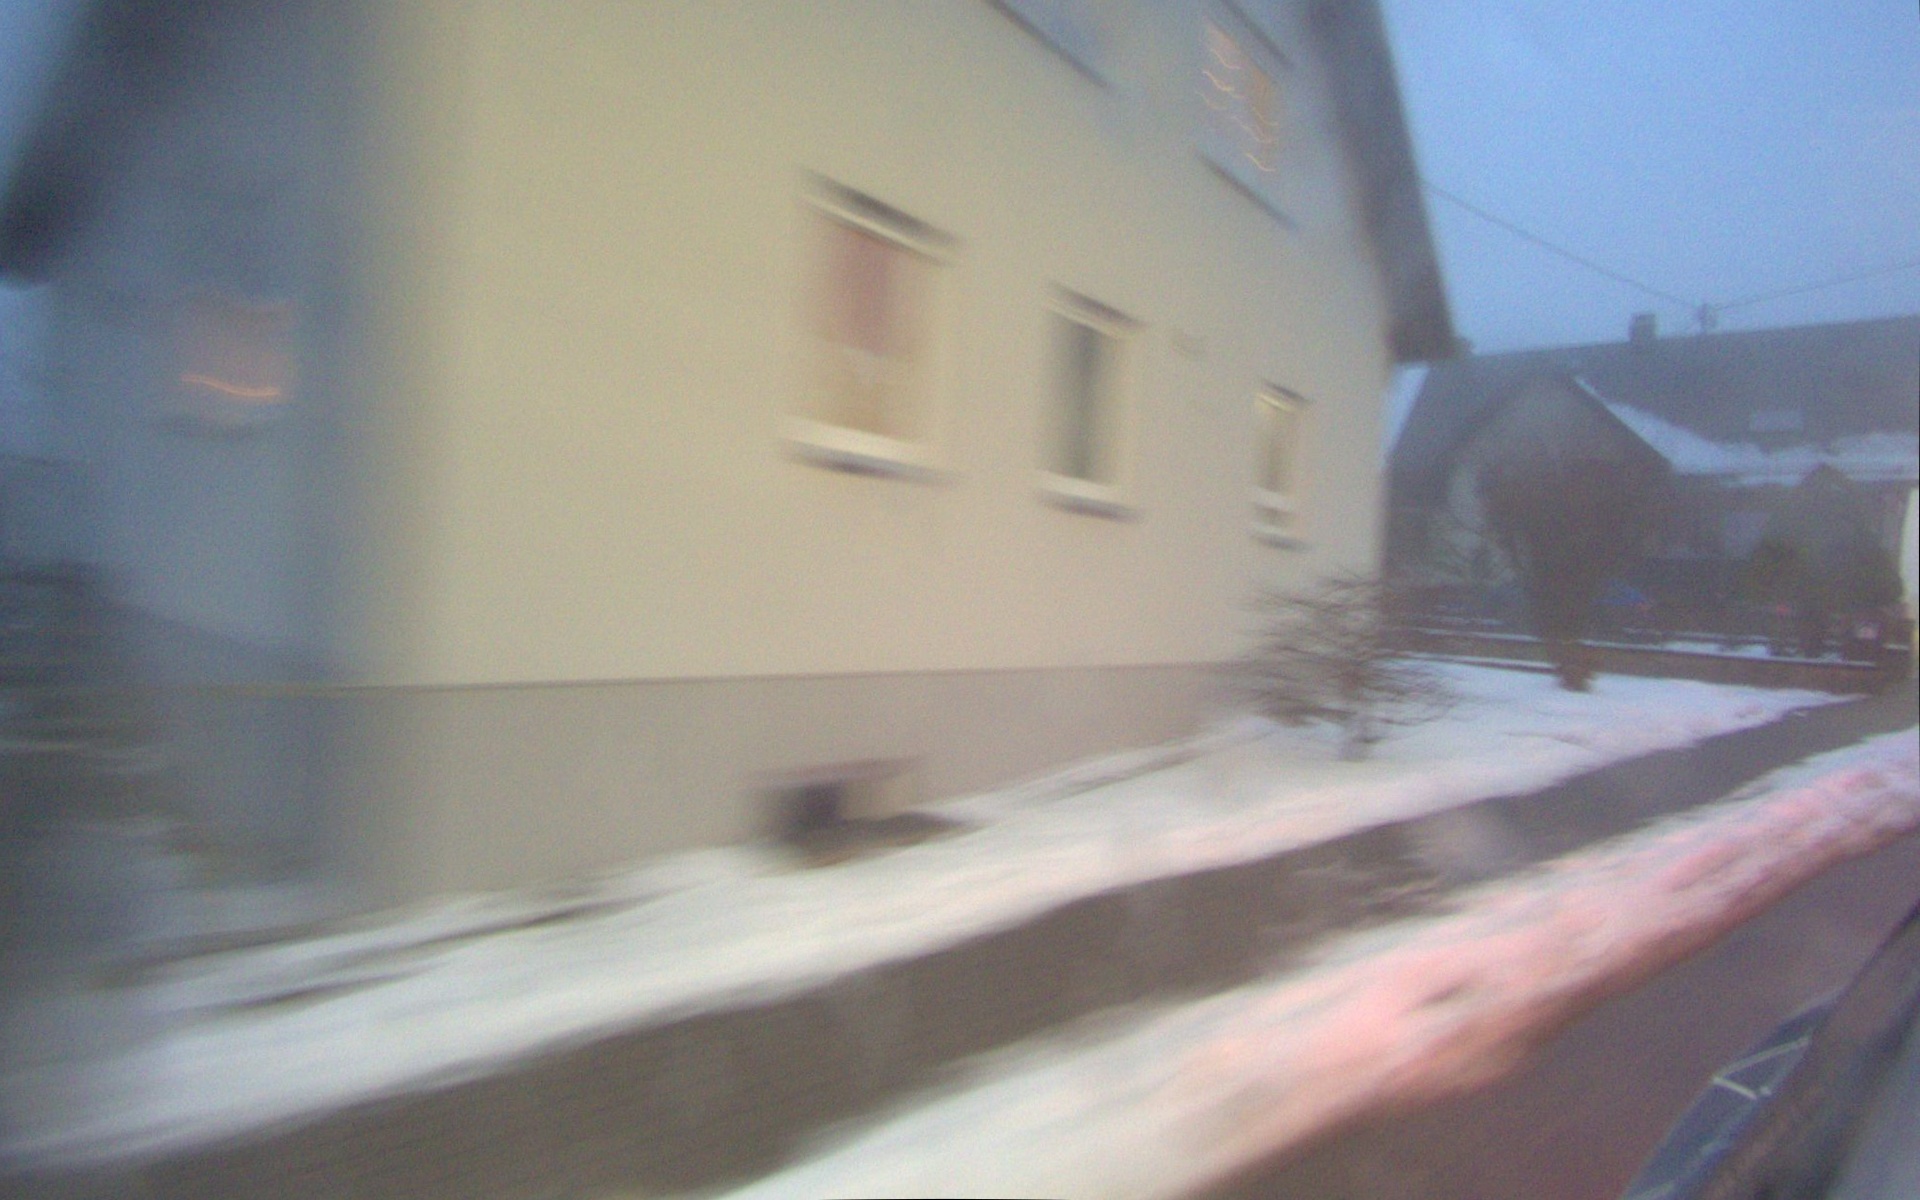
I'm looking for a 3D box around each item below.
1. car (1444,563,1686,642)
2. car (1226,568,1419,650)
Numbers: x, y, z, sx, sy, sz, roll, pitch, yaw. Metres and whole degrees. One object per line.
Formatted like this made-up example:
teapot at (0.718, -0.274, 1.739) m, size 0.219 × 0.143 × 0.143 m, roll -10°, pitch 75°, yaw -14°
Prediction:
car at (13.612, 0.006, 22.932) m, size 4.444 × 1.606 × 1.970 m, roll 1°, pitch 2°, yaw 42°
car at (9.406, 0.181, 26.463) m, size 4.368 × 1.950 × 1.970 m, roll 0°, pitch 1°, yaw 42°
